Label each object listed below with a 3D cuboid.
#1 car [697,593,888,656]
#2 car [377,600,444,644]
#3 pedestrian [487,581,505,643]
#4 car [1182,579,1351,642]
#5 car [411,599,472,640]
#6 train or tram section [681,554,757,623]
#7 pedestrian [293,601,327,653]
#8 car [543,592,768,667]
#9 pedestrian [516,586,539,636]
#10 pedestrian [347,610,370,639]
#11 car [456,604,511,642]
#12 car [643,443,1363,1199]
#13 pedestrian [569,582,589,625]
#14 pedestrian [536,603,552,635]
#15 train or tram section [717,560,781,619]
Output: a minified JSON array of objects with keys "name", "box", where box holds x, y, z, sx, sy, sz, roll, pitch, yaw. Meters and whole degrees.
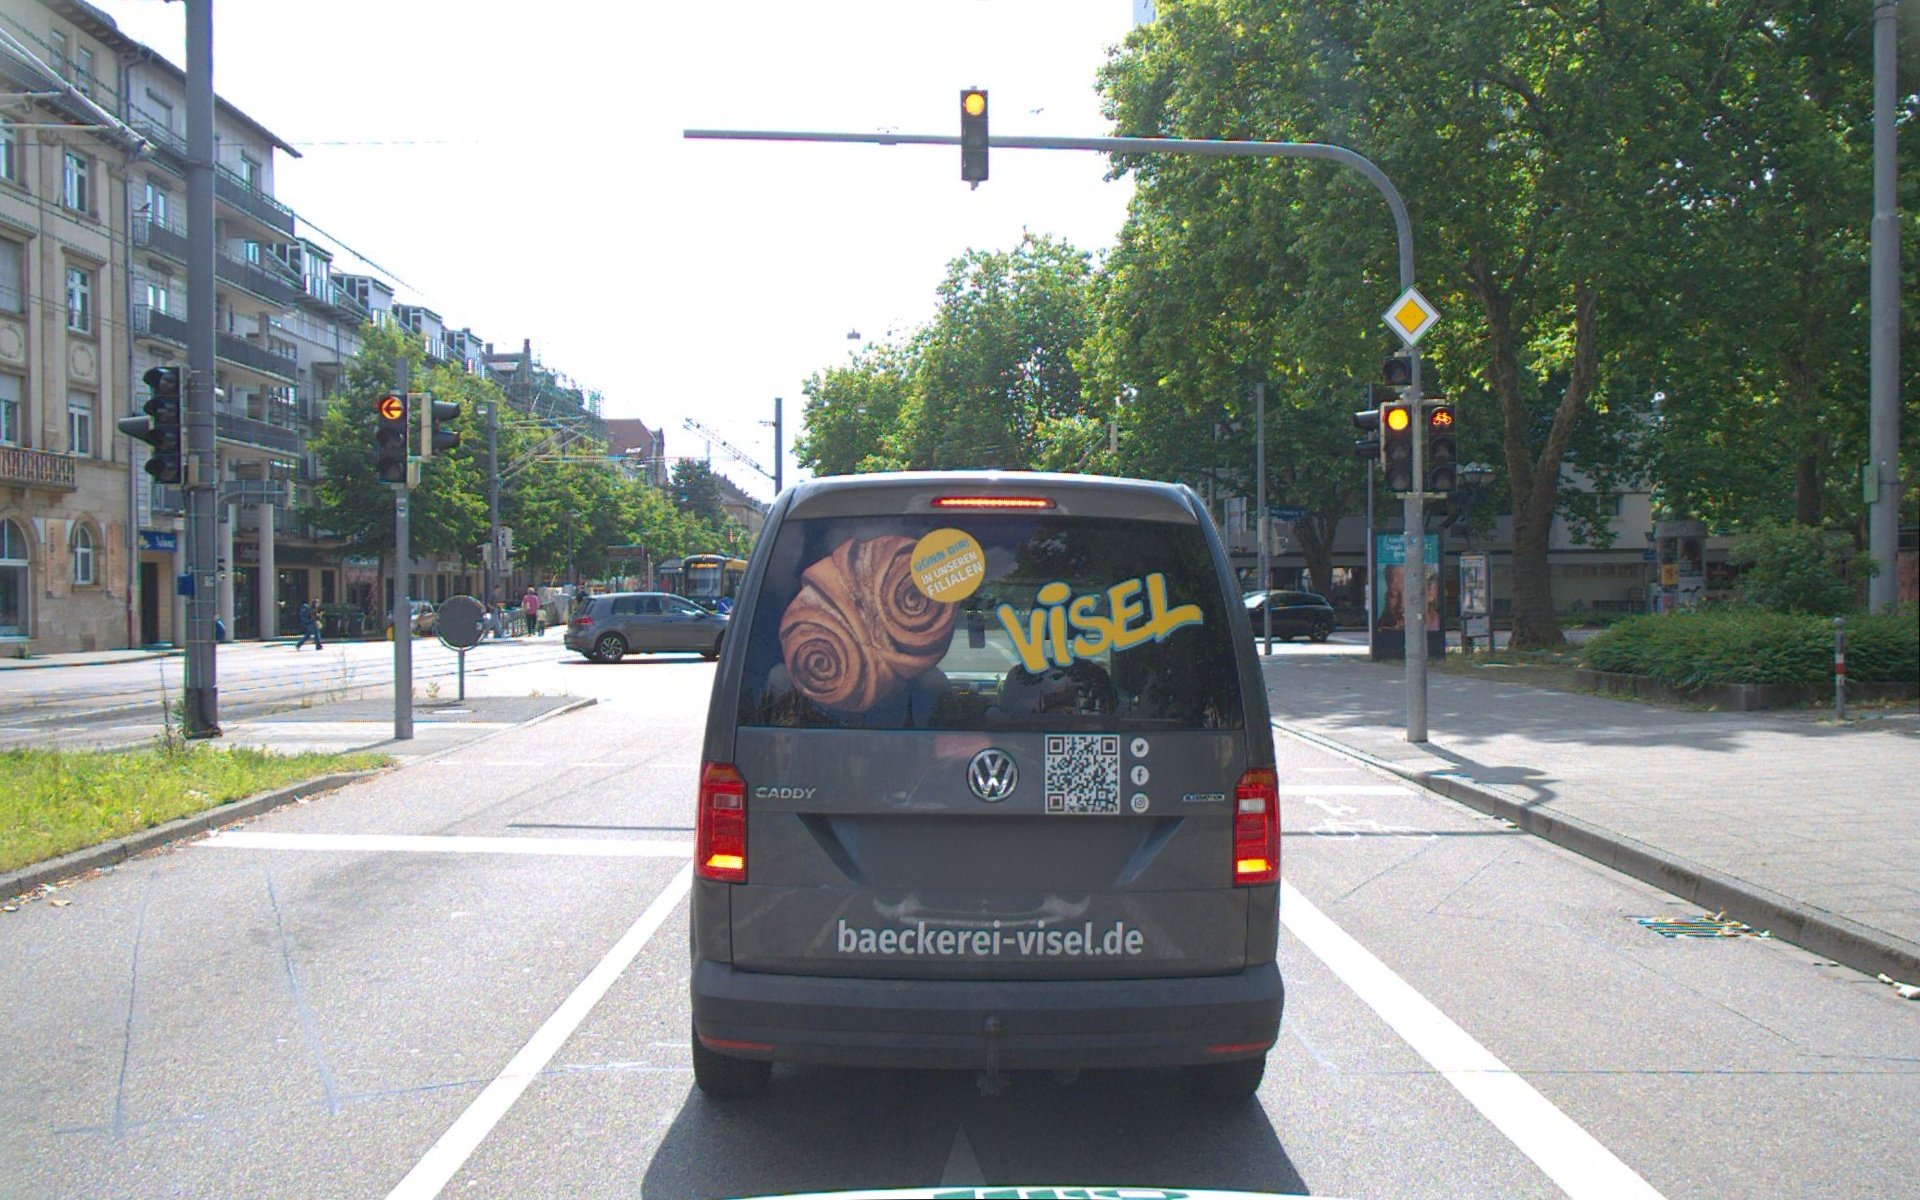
[{"name":"car","box":[-4.137,0.579,40.946,4.423,1.414,1.693,-1,0,-25]},{"name":"car","box":[-26.905,1.033,81.144,1.953,2.049,3.999,-1,0,-1]},{"name":"pedestrian","box":[-15.566,0.404,55.499,0.468,2.049,0.419,-1,0,-6]},{"name":"car","box":[8.629,0.272,46.557,4.421,1.629,1.850,-1,0,-24]},{"name":"car","box":[-26.892,0.991,85.923,1.953,2.049,3.999,-1,0,-1]},{"name":"train or tram section","box":[-12.728,-0.629,88.357,2.195,3.389,12.970,-1,0,0]},{"name":"pedestrian","box":[-20.566,0.849,52.327,0.852,1.623,0.685,-1,0,-36]},{"name":"car","box":[-6.543,0.598,35.572,4.497,1.461,1.693,-1,0,-25]},{"name":"pedestrian","box":[-15.847,0.407,60.621,0.646,1.815,0.660,-1,0,-1]},{"name":"pedestrian","box":[-26.007,1.057,71.503,0.738,1.233,0.704,-1,0,-1]},{"name":"car","box":[-27.180,1.299,94.425,1.953,2.049,3.999,-1,0,-1]},{"name":"car","box":[0.092,0.541,5.715,1.715,1.840,3.474,1,0,-1]},{"name":"pedestrian","box":[-15.396,0.136,66.812,0.646,1.714,0.655,-1,0,-1]},{"name":"pedestrian","box":[-15.231,0.680,60.524,0.454,1.164,0.435,-1,0,-1]},{"name":"train or tram section","box":[-12.854,-0.650,101.839,2.195,3.389,14.012,-1,0,0]}]
